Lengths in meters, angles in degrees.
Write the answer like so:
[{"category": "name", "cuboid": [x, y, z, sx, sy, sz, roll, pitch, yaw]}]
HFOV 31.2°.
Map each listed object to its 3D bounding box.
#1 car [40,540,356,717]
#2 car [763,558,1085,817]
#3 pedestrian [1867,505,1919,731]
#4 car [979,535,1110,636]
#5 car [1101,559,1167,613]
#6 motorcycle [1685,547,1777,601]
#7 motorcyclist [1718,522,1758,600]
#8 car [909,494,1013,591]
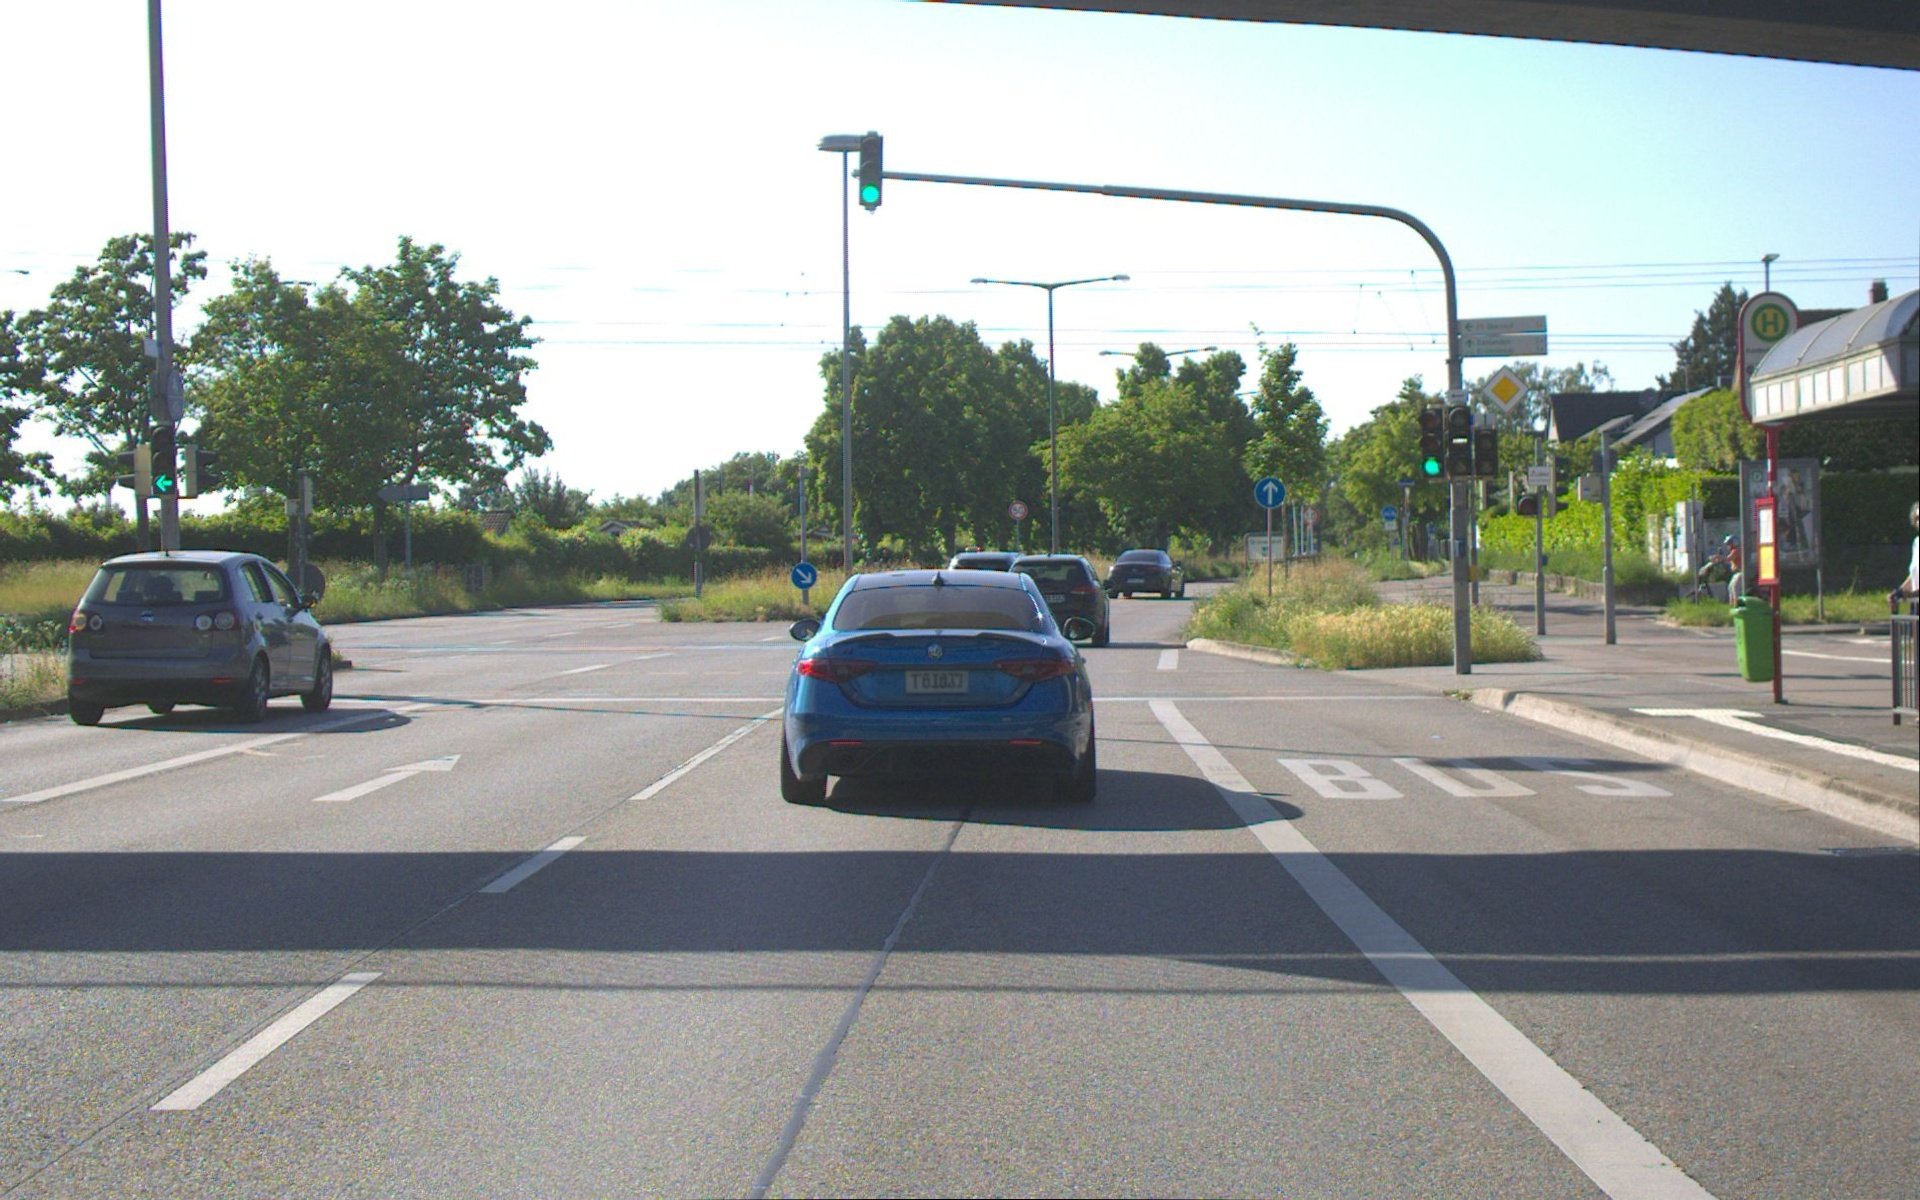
[{"category": "car", "cuboid": [-7.180, 0.228, 32.844, 1.842, 1.565, 4.386, 0, 1, 3]}, {"category": "car", "cuboid": [-0.140, 0.477, 21.850, 1.838, 1.469, 4.184, 1, 1, 2]}, {"category": "pedestrian", "cuboid": [7.145, 0.129, 25.579, 0.587, 1.656, 0.717, -1, 1, -1]}, {"category": "car", "cuboid": [1.415, -0.253, 56.240, 1.915, 1.574, 4.182, 0, 1, 4]}, {"category": "car", "cuboid": [5.202, -0.435, 102.548, 1.661, 1.574, 3.808, 1, 1, 7]}, {"category": "motorcycle", "cuboid": [15.510, -0.523, 69.184, 1.756, 1.067, 0.451, -1, 0, 8]}, {"category": "motorcyclist", "cuboid": [15.651, -0.786, 69.173, 0.693, 1.552, 0.699, -1, 0, 8]}, {"category": "car", "cuboid": [0.047, -1.209, 73.405, 1.793, 2.007, 3.999, 1, 0, 6]}]
